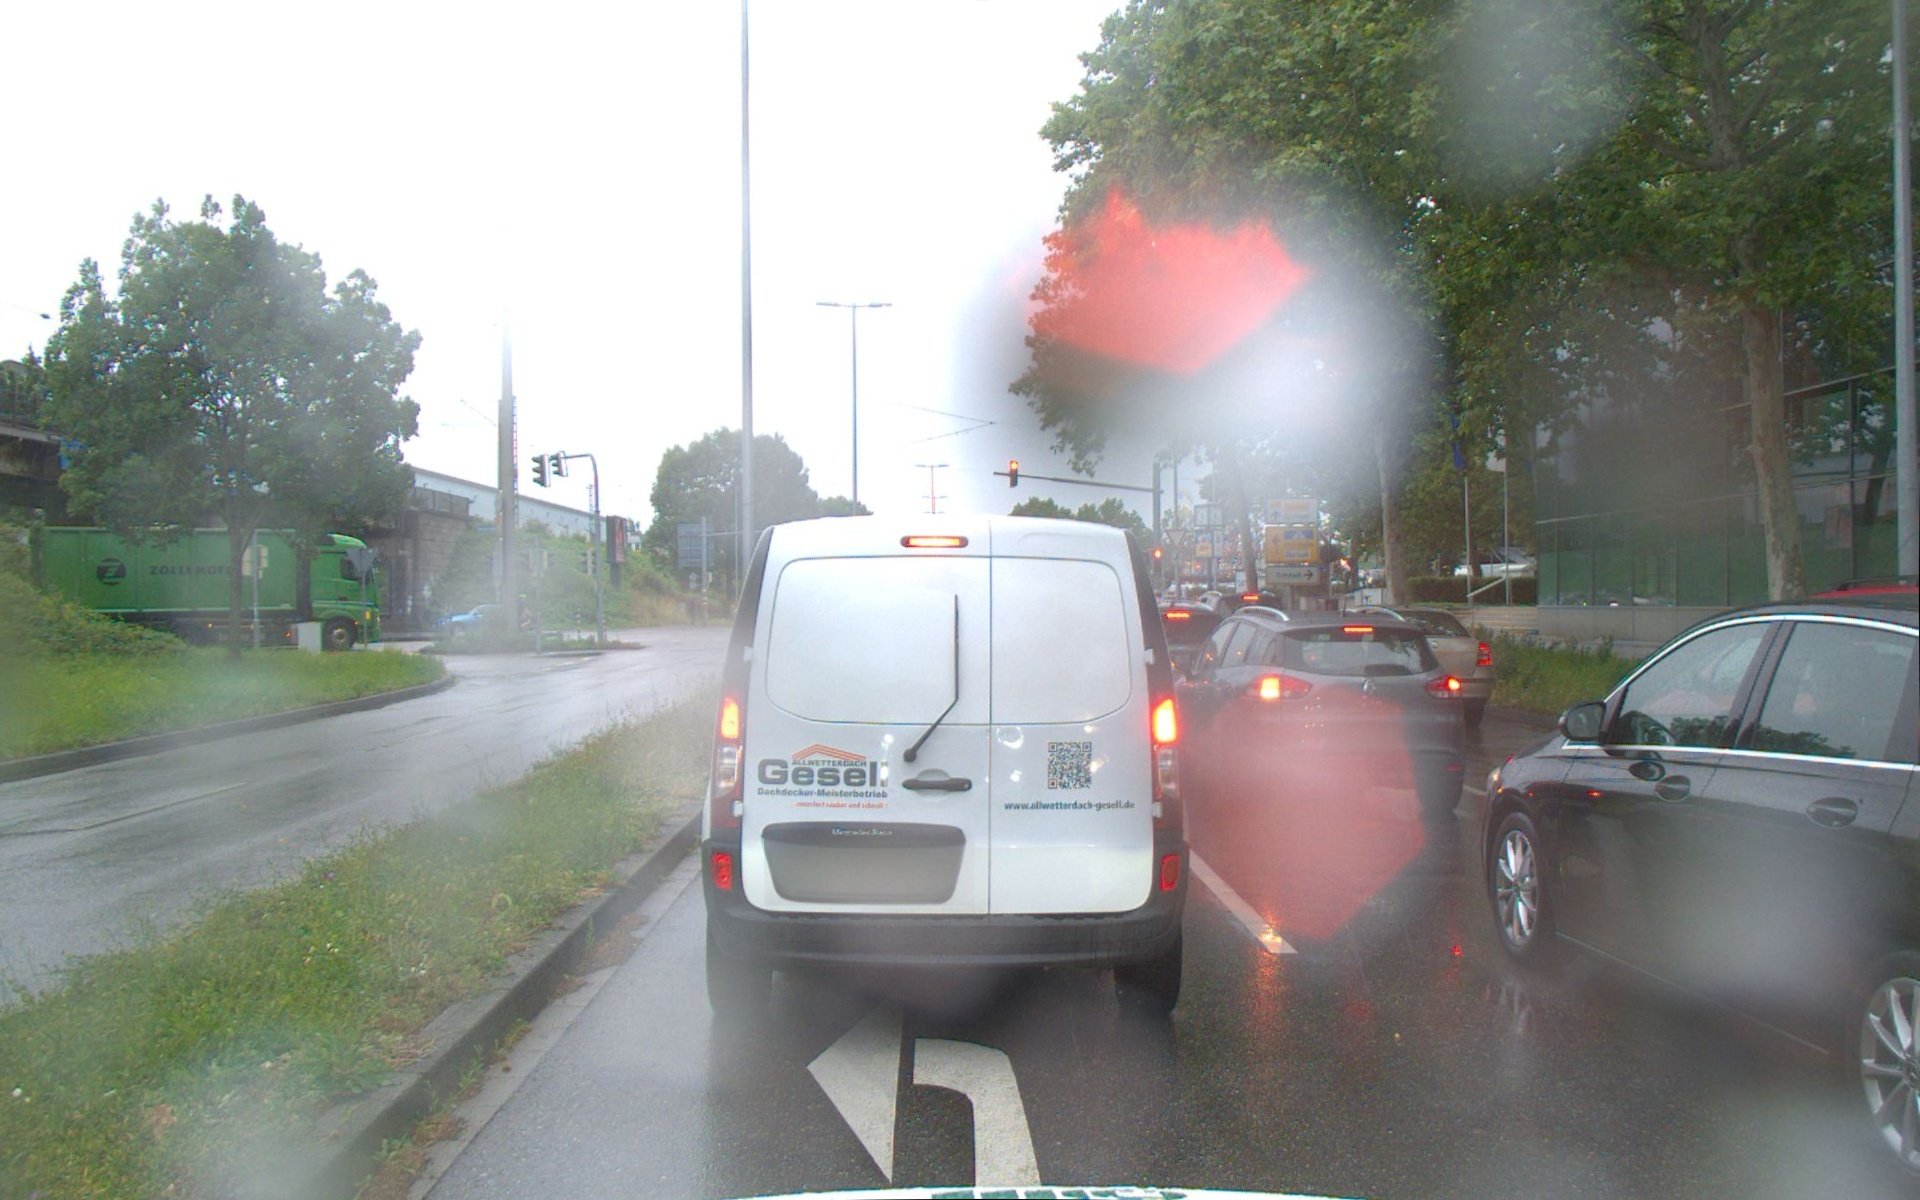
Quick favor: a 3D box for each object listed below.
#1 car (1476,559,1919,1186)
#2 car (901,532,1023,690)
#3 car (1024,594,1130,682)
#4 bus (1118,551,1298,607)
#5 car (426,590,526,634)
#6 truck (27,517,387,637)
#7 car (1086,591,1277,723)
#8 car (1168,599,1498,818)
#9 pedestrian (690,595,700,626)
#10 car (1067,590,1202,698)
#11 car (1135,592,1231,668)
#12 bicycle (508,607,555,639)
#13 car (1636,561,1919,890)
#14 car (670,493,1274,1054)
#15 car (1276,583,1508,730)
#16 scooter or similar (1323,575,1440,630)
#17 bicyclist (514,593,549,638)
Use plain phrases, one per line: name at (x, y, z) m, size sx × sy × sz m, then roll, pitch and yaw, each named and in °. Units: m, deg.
car at (3.244, 0.688, 5.446) m, size 1.712 × 1.582 × 4.089 m, roll 0°, pitch 0°, yaw -2°
car at (0.001, 0.144, 26.426) m, size 1.816 × 2.336 × 3.842 m, roll 0°, pitch 0°, yaw -1°
car at (2.306, 0.728, 33.546) m, size 1.816 × 1.678 × 3.842 m, roll 0°, pitch 0°, yaw -1°
bus at (16.596, -1.407, 111.150) m, size 11.727 × 3.483 × 2.315 m, roll -1°, pitch 1°, yaw -1°
car at (-22.221, 0.570, 75.982) m, size 3.967 × 1.920 × 1.969 m, roll 1°, pitch 1°, yaw -43°
truck at (-23.143, -0.694, 51.316) m, size 9.957 × 3.430 × 2.316 m, roll 0°, pitch 0°, yaw -37°
car at (2.660, 0.635, 20.662) m, size 1.816 × 1.486 × 3.842 m, roll 0°, pitch 0°, yaw -1°
car at (2.775, 0.739, 13.134) m, size 1.649 × 1.433 × 3.842 m, roll 1°, pitch 0°, yaw -2°
pedestrian at (-15.358, 0.612, 95.875) m, size 0.532 × 1.746 × 0.563 m, roll 1°, pitch -1°, yaw -5°
car at (2.871, 0.677, 27.892) m, size 1.816 × 1.678 × 3.842 m, roll 0°, pitch 0°, yaw -1°
car at (5.169, 0.676, 38.700) m, size 1.674 × 1.678 × 3.842 m, roll 1°, pitch 0°, yaw -1°
bicycle at (-14.345, 0.754, 55.346) m, size 1.027 × 0.968 × 2.866 m, roll -1°, pitch 1°, yaw -25°
car at (5.837, 0.680, 9.998) m, size 1.676 × 1.724 × 4.271 m, roll 1°, pitch -1°, yaw -1°
car at (0.011, 0.539, 7.641) m, size 1.953 × 1.807 × 4.584 m, roll 0°, pitch 0°, yaw -1°
car at (5.401, 0.635, 21.193) m, size 1.838 × 1.641 × 3.999 m, roll 2°, pitch 1°, yaw -1°
scooter or similar at (19.669, 0.092, 77.359) m, size 1.878 × 2.489 × 5.239 m, roll 0°, pitch 0°, yaw -41°
bicyclist at (-14.326, 0.503, 55.297) m, size 1.028 × 1.475 × 0.723 m, roll -1°, pitch 1°, yaw -26°
